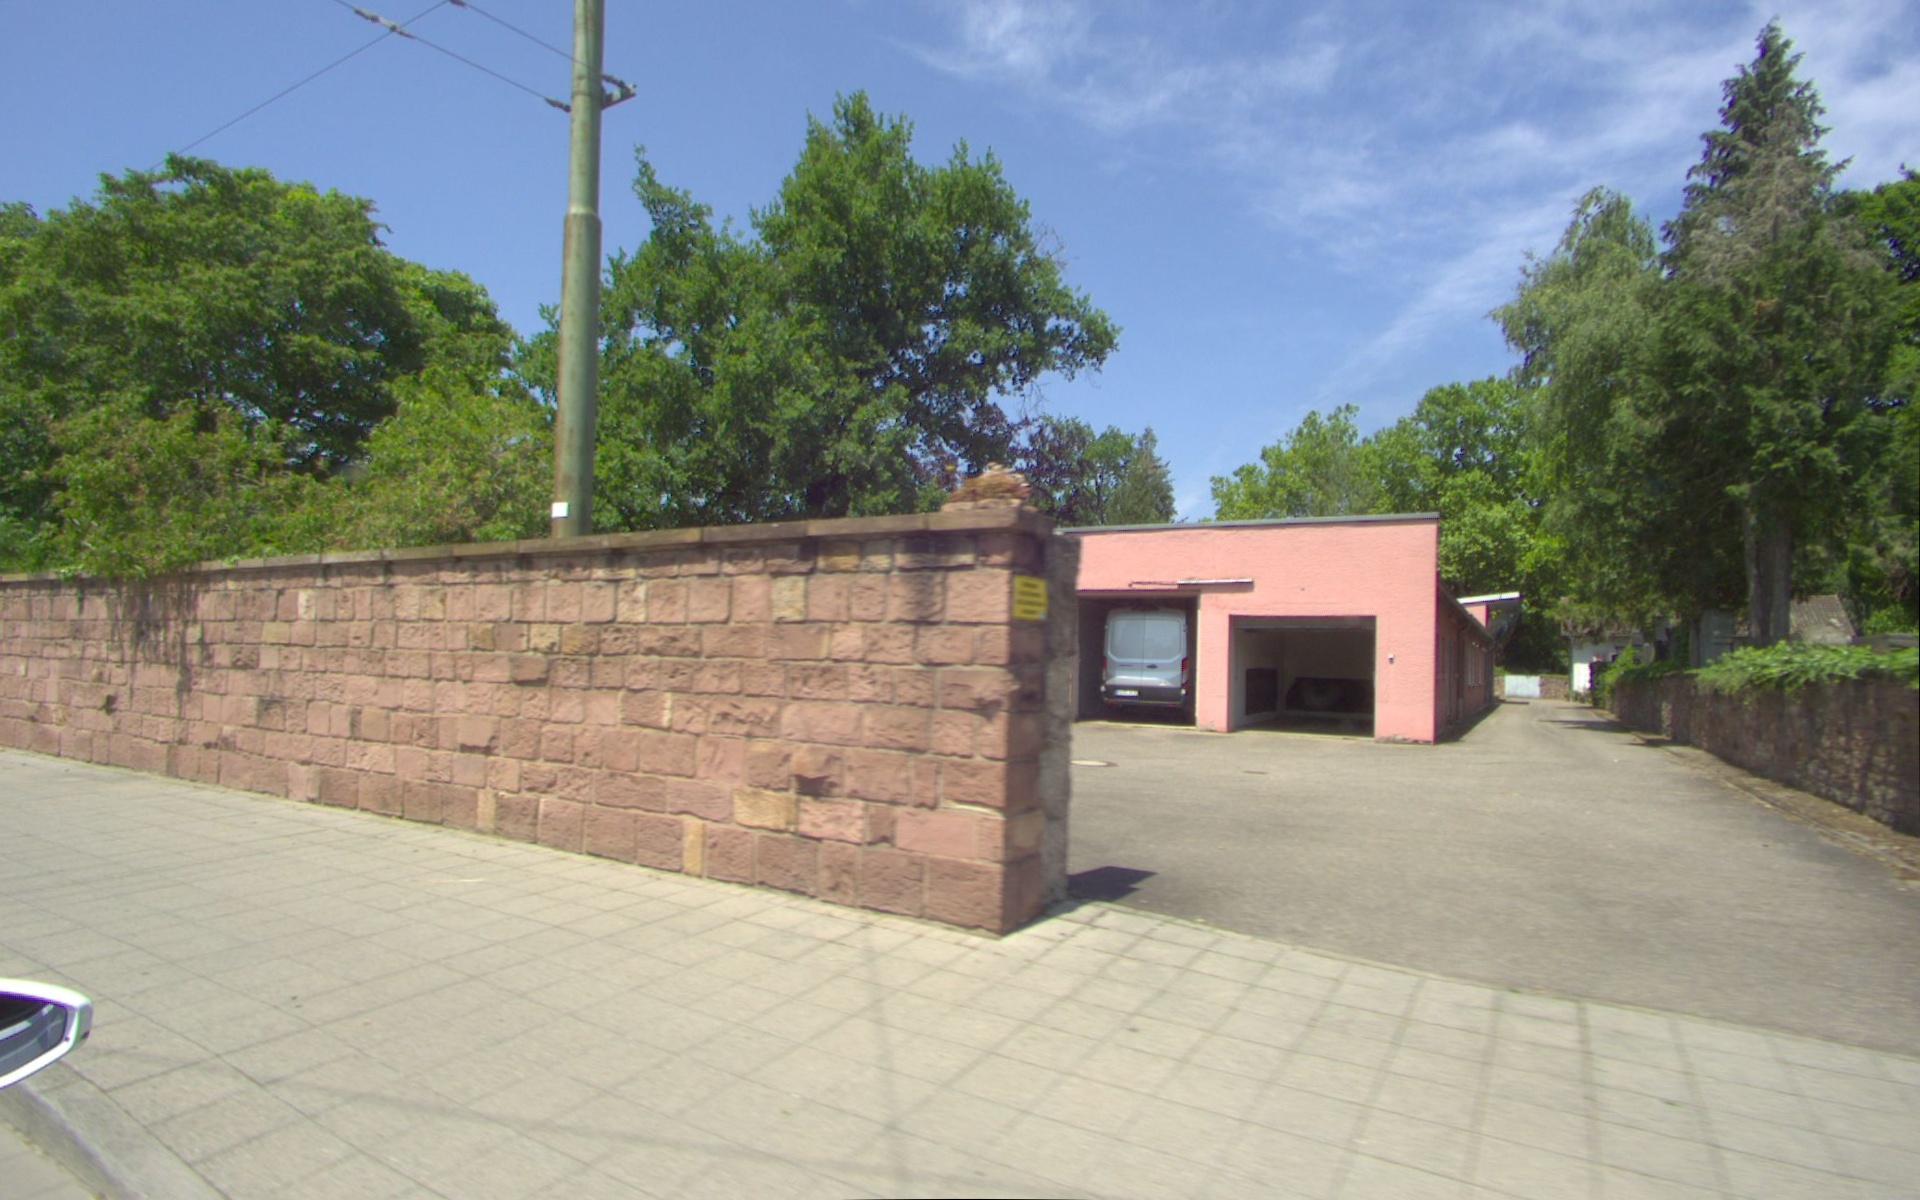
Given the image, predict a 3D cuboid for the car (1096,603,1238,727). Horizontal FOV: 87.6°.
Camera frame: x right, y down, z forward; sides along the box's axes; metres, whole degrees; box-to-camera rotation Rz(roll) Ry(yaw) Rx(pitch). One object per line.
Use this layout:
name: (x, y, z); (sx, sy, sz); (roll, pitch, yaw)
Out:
car: (4.928, 1.534, 23.295); (1.969, 2.571, 4.641); (-1, -5, 28)
